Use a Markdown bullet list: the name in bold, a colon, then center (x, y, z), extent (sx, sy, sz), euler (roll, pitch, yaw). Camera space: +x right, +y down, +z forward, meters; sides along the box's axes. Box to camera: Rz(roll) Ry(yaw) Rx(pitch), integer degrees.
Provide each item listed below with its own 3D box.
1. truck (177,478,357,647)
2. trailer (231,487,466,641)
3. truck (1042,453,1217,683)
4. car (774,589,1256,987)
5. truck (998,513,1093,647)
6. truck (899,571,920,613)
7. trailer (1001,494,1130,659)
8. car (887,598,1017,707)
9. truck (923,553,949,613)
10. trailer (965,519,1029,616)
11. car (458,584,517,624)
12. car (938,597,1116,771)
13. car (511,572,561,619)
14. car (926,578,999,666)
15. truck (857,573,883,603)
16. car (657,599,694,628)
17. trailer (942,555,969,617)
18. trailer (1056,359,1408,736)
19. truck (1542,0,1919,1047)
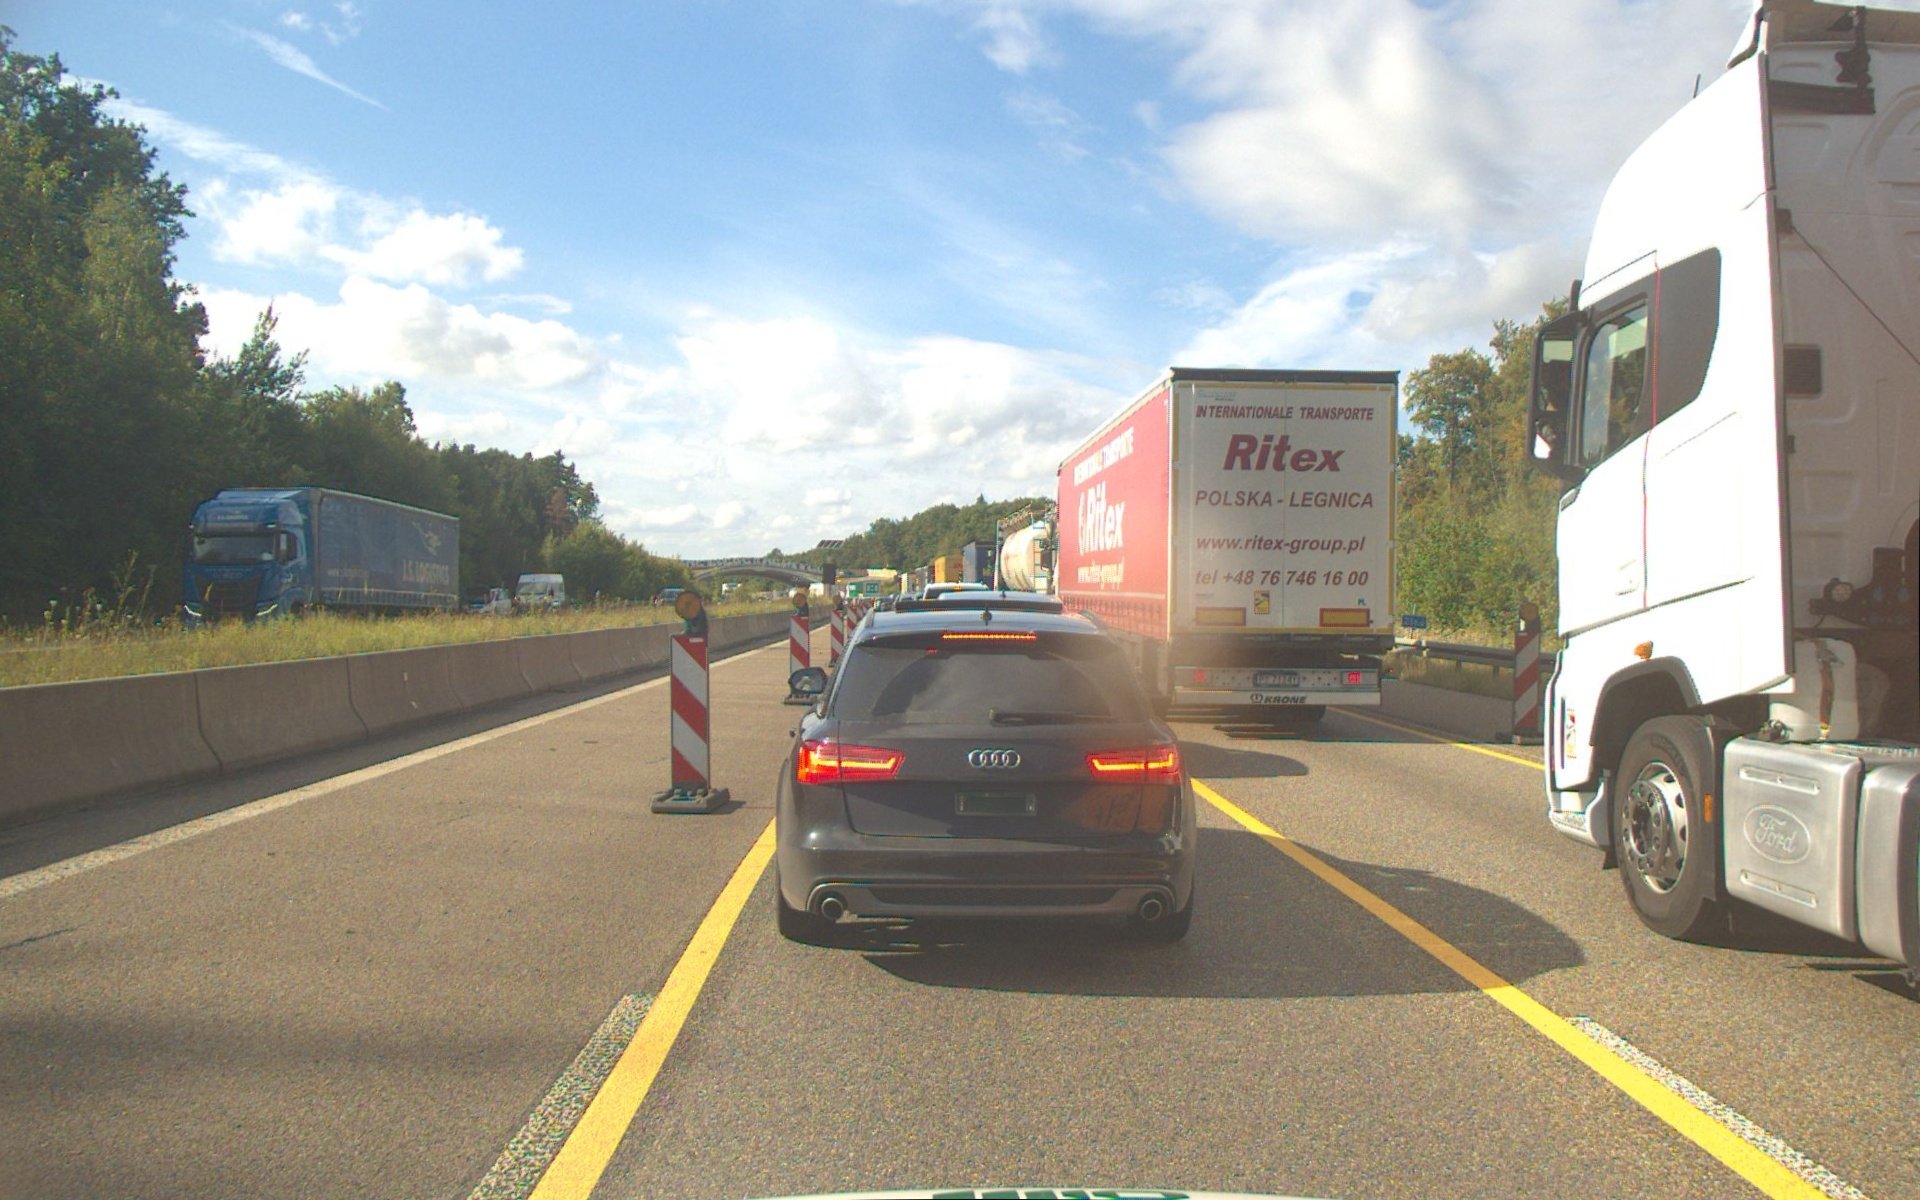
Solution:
- **truck**: center (-18.708, -0.965, 45.005), extent (2.584, 4.262, 5.466), euler (1, 0, -1)
- **trailer**: center (-18.799, -1.014, 52.138), extent (2.566, 4.214, 13.370), euler (1, 0, -1)
- **truck**: center (3.142, -0.576, 32.105), extent (2.614, 4.029, 5.709), euler (1, 0, -2)
- **car**: center (0.185, 0.724, 8.251), extent (1.811, 1.489, 3.999), euler (1, 0, -1)
- **truck**: center (2.672, -0.583, 53.322), extent (2.605, 4.041, 5.777), euler (1, 0, -1)
- **truck**: center (-5.373, -0.789, 175.341), extent (2.094, 4.332, 7.069), euler (1, 0, -1)
- **trailer**: center (2.767, -0.587, 47.016), extent (2.590, 4.012, 12.595), euler (1, 0, -1)
- **car**: center (-0.132, 0.715, 24.010), extent (1.716, 1.421, 3.607), euler (1, 0, -1)
- **truck**: center (-2.125, -1.450, 143.132), extent (1.953, 5.000, 9.558), euler (1, 0, -2)
- **trailer**: center (1.765, -1.481, 82.823), extent (2.748, 4.490, 10.430), euler (1, 0, -1)
- **car**: center (-24.891, 0.221, 87.213), extent (1.953, 2.049, 3.999), euler (1, 0, -1)
- **car**: center (0.553, 0.726, 15.800), extent (1.493, 1.464, 3.284), euler (1, 0, -1)
- **car**: center (-24.840, -0.250, 97.077), extent (2.208, 2.689, 5.010), euler (1, 0, -8)
- **car**: center (0.029, 0.481, 37.426), extent (1.549, 1.869, 3.111), euler (1, 0, -1)
- **truck**: center (-13.186, -1.728, 241.563), extent (3.240, 4.248, 9.689), euler (0, 0, -6)
- **car**: center (-17.237, 0.811, 100.304), extent (1.680, 1.736, 3.522), euler (1, 0, -1)
- **trailer**: center (-0.305, -0.898, 109.879), extent (1.584, 3.987, 6.487), euler (1, 0, -2)
- **trailer**: center (3.341, -0.582, 24.594), extent (2.645, 4.038, 13.413), euler (1, 0, -1)
- **truck**: center (4.410, -0.428, 5.986), extent (2.444, 3.847, 5.788), euler (1, 0, -1)
